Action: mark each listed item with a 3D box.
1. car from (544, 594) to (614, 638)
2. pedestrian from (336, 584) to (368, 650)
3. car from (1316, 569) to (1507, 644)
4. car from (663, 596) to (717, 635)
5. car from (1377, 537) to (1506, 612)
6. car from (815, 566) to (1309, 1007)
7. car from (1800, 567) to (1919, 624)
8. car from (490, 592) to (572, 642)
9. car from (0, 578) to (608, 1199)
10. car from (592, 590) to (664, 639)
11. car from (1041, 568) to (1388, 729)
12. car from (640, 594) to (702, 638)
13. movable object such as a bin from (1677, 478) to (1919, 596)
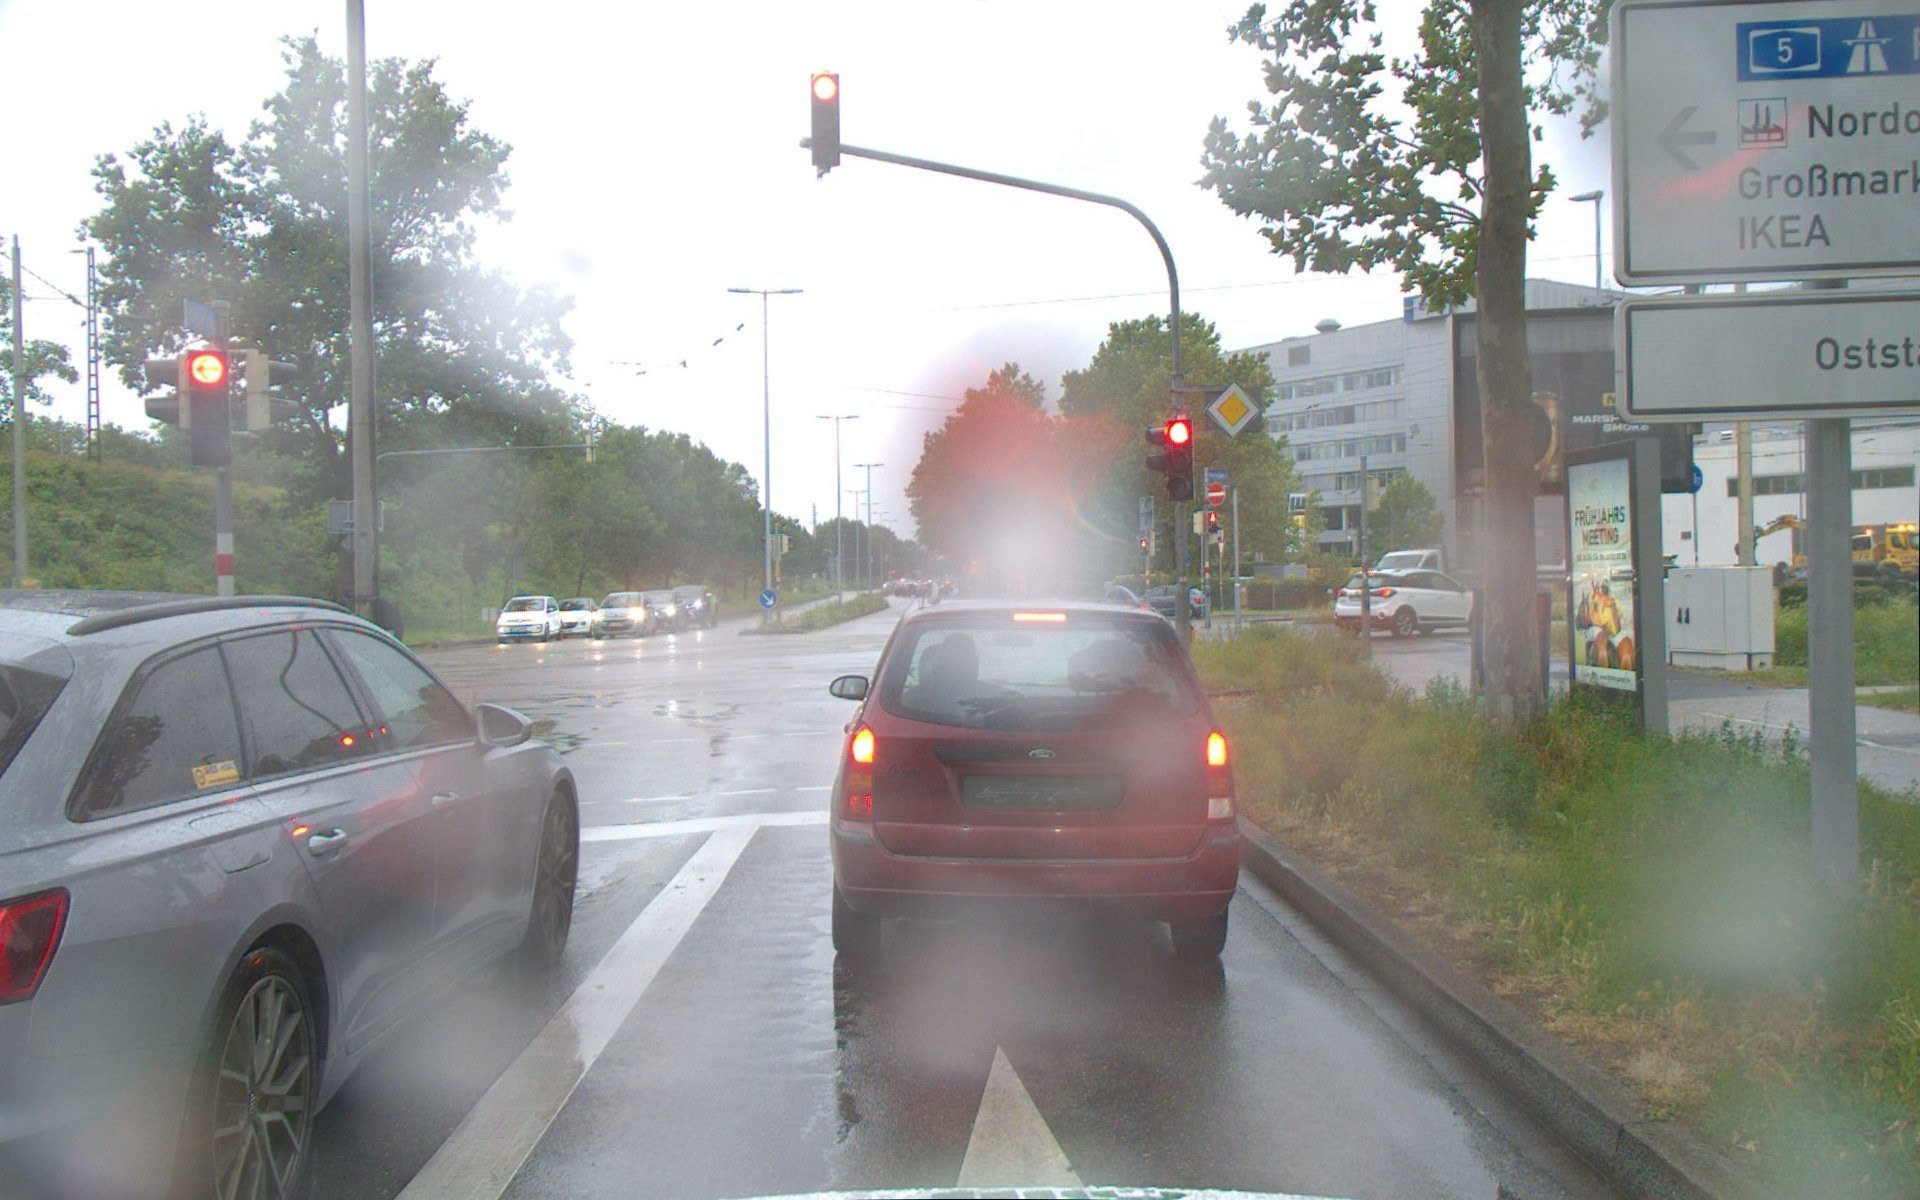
[{"bbox_3d":[-14.072,0.563,61.253,1.678,1.556,3.999,-1,0,-1],"label":"car"},{"bbox_3d":[-16.739,0.463,45.534,0.522,1.817,0.673,0,-1,16],"label":"pedestrian"},{"bbox_3d":[10.180,0.106,37.248,4.010,1.547,1.979,-1,2,-32],"label":"car"},{"bbox_3d":[-11.469,0.652,70.543,1.678,1.556,3.999,-1,0,-1],"label":"car"},{"bbox_3d":[15.945,-0.859,54.698,4.339,2.228,1.779,-4,2,-36],"label":"car"},{"bbox_3d":[0.338,0.666,8.132,1.760,1.564,4.386,1,0,-1],"label":"car"},{"bbox_3d":[26.068,-0.144,47.144,4.327,1.564,1.784,0,0,-30],"label":"car"},{"bbox_3d":[-14.140,0.519,54.713,1.678,1.556,3.999,-1,0,-1],"label":"car"},{"bbox_3d":[-2.308,0.692,4.801,1.656,1.458,4.573,0,0,-1],"label":"car"},{"bbox_3d":[-11.192,0.469,55.979,1.678,1.556,3.999,-1,0,-1],"label":"car"},{"bbox_3d":[3.171,0.491,20.060,4.349,1.563,1.775,-4,3,-41],"label":"car"},{"bbox_3d":[-10.930,0.594,62.759,1.678,1.556,3.999,-1,0,-1],"label":"car"},{"bbox_3d":[52.687,-3.517,100.562,8.168,6.393,14.792,1,-1,-34],"label":"movable object such as a bin"}]
